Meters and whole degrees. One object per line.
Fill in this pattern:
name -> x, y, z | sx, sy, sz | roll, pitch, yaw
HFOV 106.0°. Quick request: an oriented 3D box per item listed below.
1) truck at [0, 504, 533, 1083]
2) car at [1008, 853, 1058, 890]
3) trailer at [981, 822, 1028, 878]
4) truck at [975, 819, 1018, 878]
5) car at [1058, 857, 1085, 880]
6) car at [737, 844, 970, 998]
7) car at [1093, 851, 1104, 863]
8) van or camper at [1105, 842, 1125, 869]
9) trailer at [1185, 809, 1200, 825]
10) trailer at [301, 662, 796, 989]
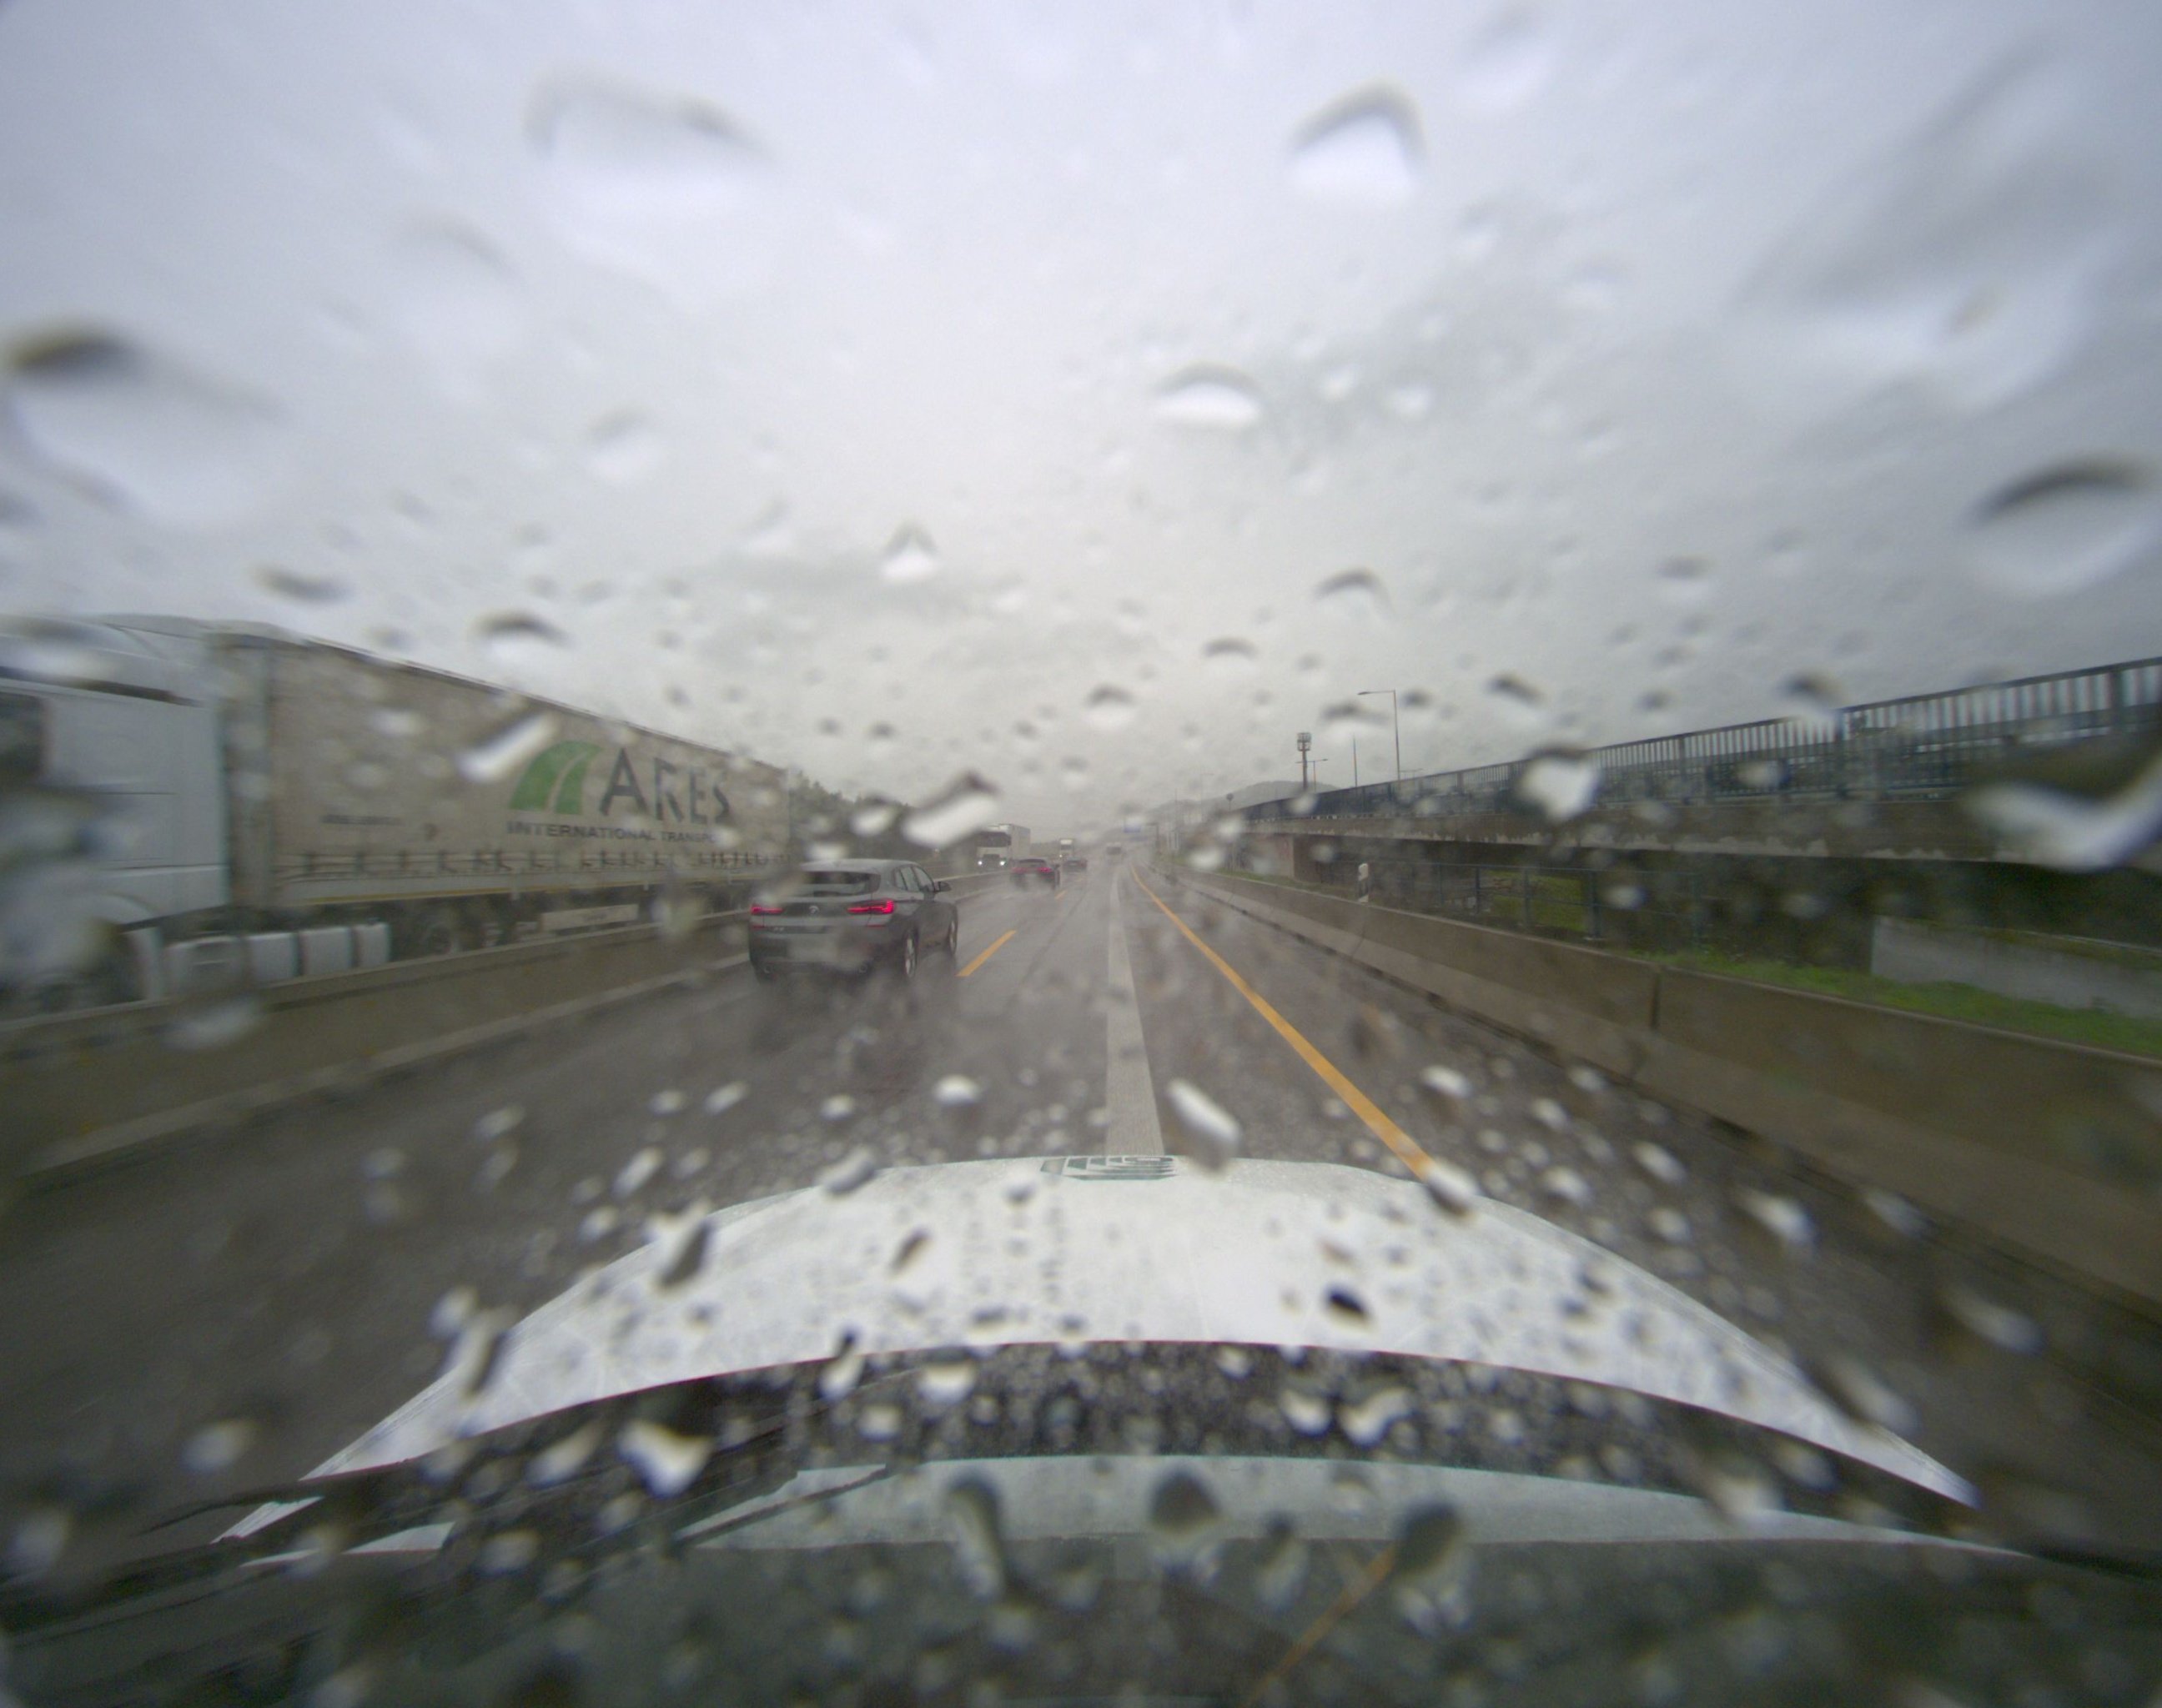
truck -> -9.498, -0.433, 8.646 | 2.493, 4.463, 6.883 | 0, -1, 2
car -> -2.061, 0.752, 35.998 | 1.838, 1.491, 4.262 | 0, -1, 1
trailer -> -6.642, -0.283, 72.782 | 2.537, 4.589, 12.016 | 0, -1, 3
truck -> -6.896, -0.394, 67.354 | 2.549, 4.603, 6.456 | -1, -1, 3
car -> -0.665, 1.091, 62.060 | 1.838, 1.491, 4.262 | -3, 0, 1
car -> -2.745, 0.739, 11.044 | 1.695, 1.598, 4.845 | -1, -1, 1
car -> 2.504, 0.453, 116.873 | 1.561, 1.480, 2.822 | -3, -1, 1
van or camper -> 3.565, 0.195, 86.617 | 1.989, 2.777, 4.050 | 0, -1, 1
trailer -> 20.939, -6.908, 153.054 | 1.984, 2.106, 13.784 | -1, -1, 5
trailer -> -9.213, -0.324, 16.703 | 2.475, 4.443, 11.199 | 0, -1, 2
